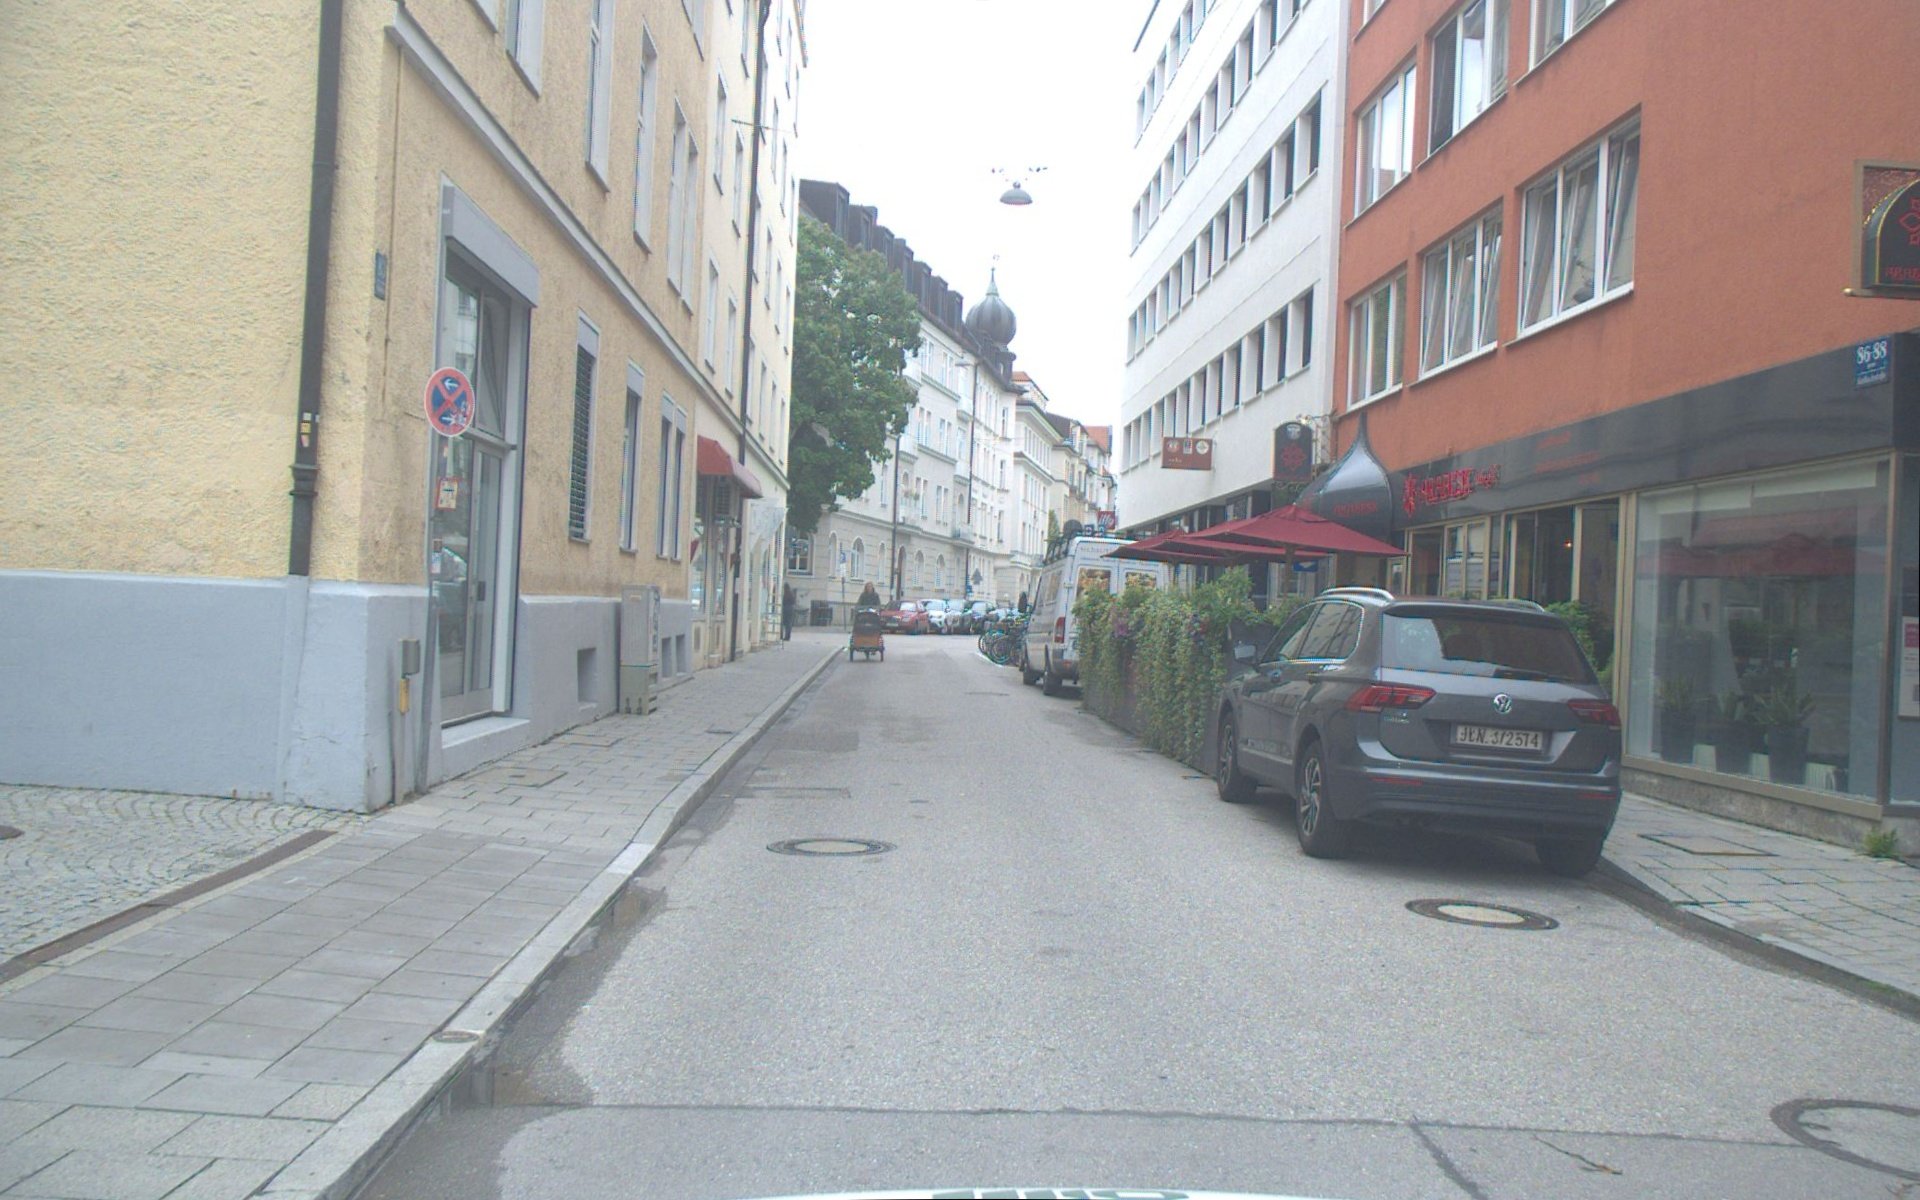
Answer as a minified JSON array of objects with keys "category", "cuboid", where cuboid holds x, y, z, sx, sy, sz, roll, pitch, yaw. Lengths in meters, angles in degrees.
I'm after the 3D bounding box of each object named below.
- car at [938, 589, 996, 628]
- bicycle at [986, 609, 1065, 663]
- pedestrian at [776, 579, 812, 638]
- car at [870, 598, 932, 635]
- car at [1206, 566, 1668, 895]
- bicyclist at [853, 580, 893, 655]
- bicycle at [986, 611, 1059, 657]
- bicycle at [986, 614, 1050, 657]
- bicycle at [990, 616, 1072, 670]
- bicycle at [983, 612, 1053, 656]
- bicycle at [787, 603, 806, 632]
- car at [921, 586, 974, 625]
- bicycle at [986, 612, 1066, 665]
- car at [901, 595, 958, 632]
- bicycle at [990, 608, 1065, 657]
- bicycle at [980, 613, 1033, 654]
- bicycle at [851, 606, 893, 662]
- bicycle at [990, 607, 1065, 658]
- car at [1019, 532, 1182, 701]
[{"category":"car","cuboid":[0.387,0.435,83.050,1.951,1.768,4.525,3,0,12]},{"category":"bicycle","cuboid":[1.612,0.882,40.739,1.837,1.225,0.488,3,1,-5]},{"category":"pedestrian","cuboid":[-4.776,0.251,47.583,0.649,1.660,0.693,3,-1,33]},{"category":"car","cuboid":[-2.378,0.664,68.168,1.694,1.402,4.230,3,0,9]},{"category":"car","cuboid":[3.005,0.738,11.471,1.787,1.740,4.388,3,0,-1]},{"category":"bicyclist","cuboid":[-2.085,0.414,39.868,0.908,1.751,1.099,1,0,-2]},{"category":"bicycle","cuboid":[1.635,0.892,43.327,1.837,1.114,0.439,3,1,-6]},{"category":"bicycle","cuboid":[1.634,0.989,46.407,1.706,1.098,0.451,3,1,-6]},{"category":"bicycle","cuboid":[1.692,1.023,39.398,1.837,1.098,0.488,5,1,-5]},{"category":"bicycle","cuboid":[1.582,0.920,45.165,1.837,1.098,0.408,3,1,-6]},{"category":"bicycle","cuboid":[-6.654,0.713,67.295,0.483,1.070,1.828,3,2,3]},{"category":"car","cuboid":[-0.572,0.264,78.355,1.902,1.732,4.003,3,0,8]},{"category":"bicycle","cuboid":[1.604,0.936,40.218,1.837,1.127,0.488,4,1,-5]},{"category":"car","cuboid":[-1.309,0.611,72.949,1.951,1.499,4.221,3,0,6]},{"category":"bicycle","cuboid":[1.733,0.833,42.759,1.856,1.190,0.565,2,0,-5]},{"category":"bicycle","cuboid":[1.340,0.965,47.630,1.424,1.088,0.462,3,0,-10]},{"category":"bicycle","cuboid":[-2.084,0.793,39.515,0.913,1.279,2.413,1,-1,-2]},{"category":"bicycle","cuboid":[1.711,0.827,42.159,1.837,1.225,0.579,2,0,-5]},{"category":"car","cuboid":[2.317,0.249,28.963,1.882,2.549,5.993,4,0,-3]}]
